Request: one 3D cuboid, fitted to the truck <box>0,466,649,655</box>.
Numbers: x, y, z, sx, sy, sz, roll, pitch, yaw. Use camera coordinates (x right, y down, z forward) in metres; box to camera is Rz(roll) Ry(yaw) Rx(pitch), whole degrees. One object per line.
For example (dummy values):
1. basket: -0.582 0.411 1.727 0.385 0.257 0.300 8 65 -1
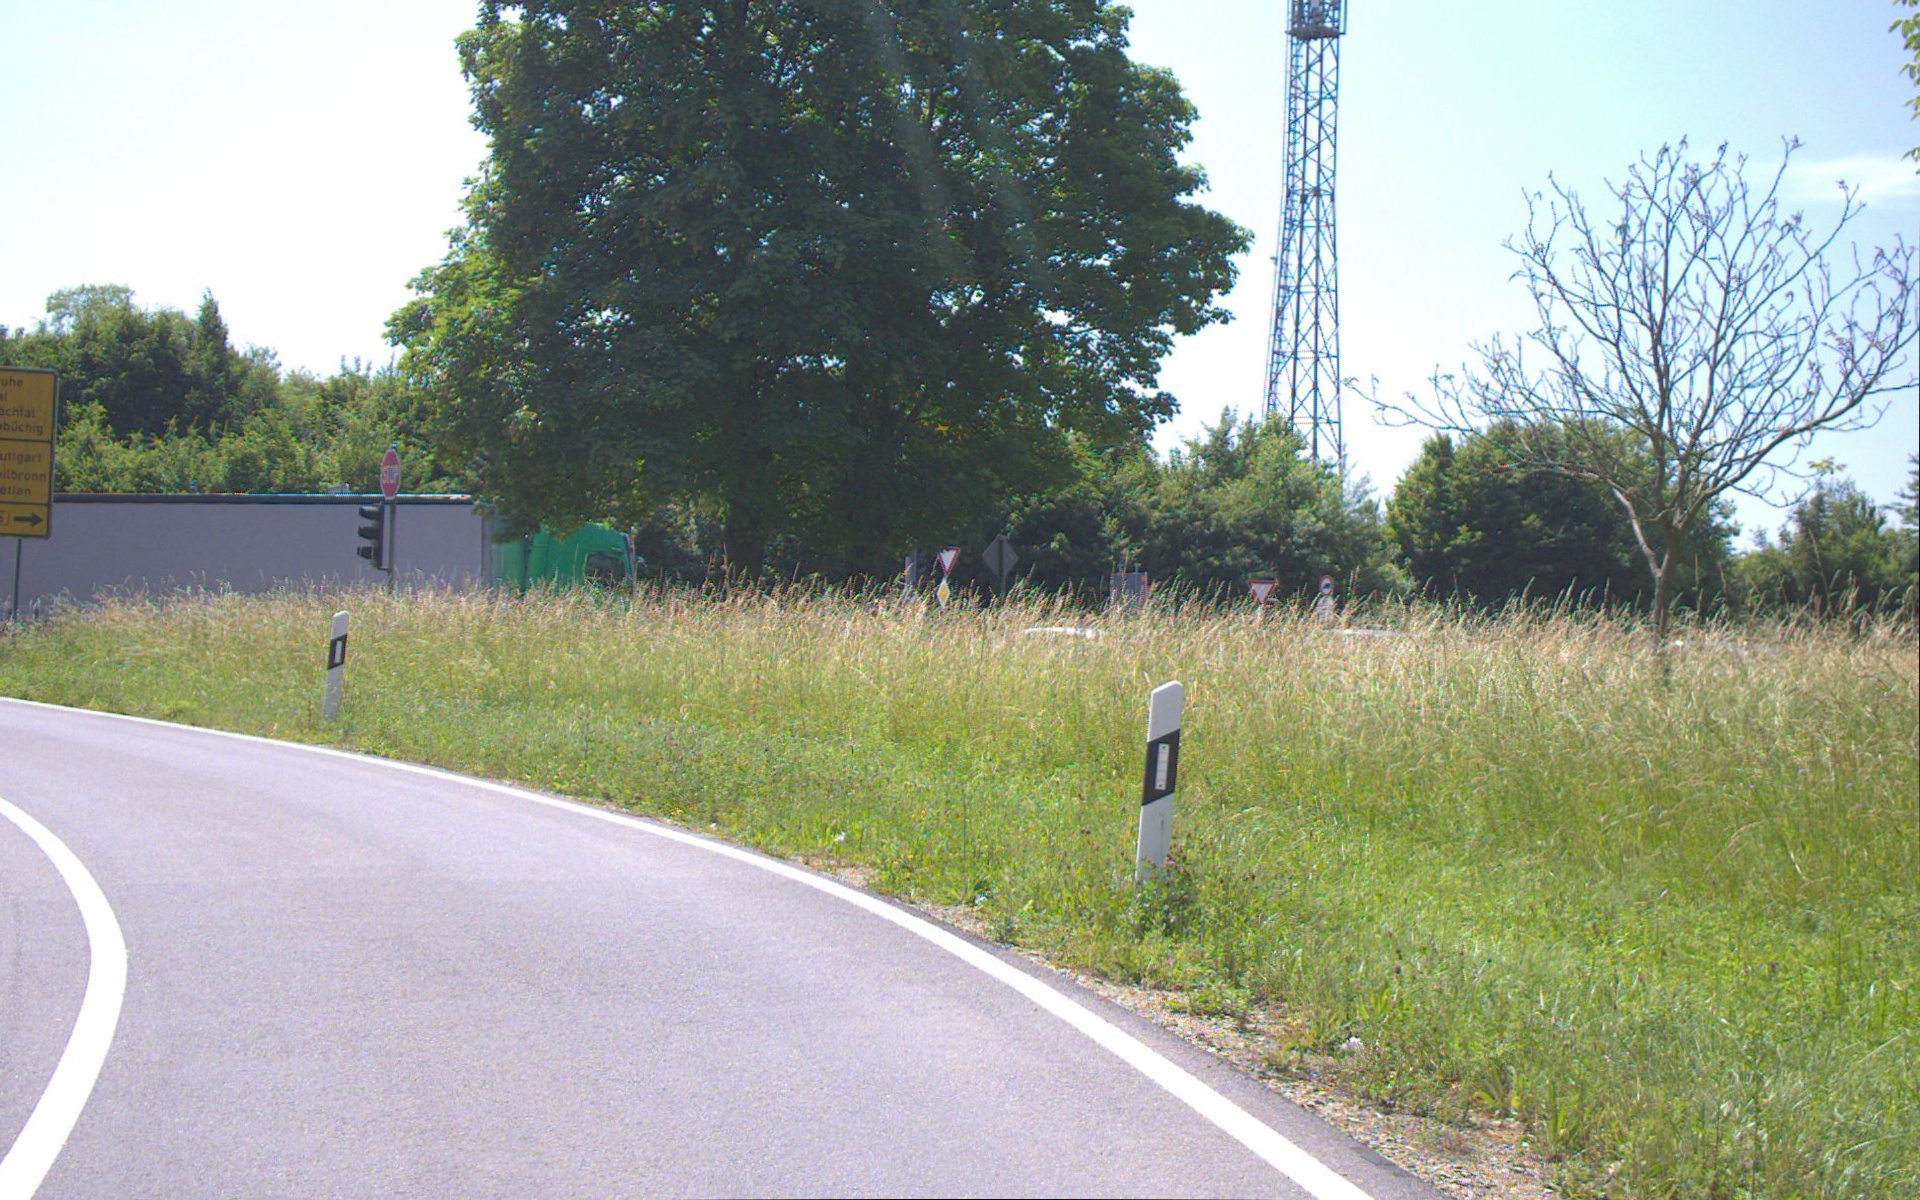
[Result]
1. truck: -15.601 -0.940 79.339 16.642 4.159 3.133 1 0 14
